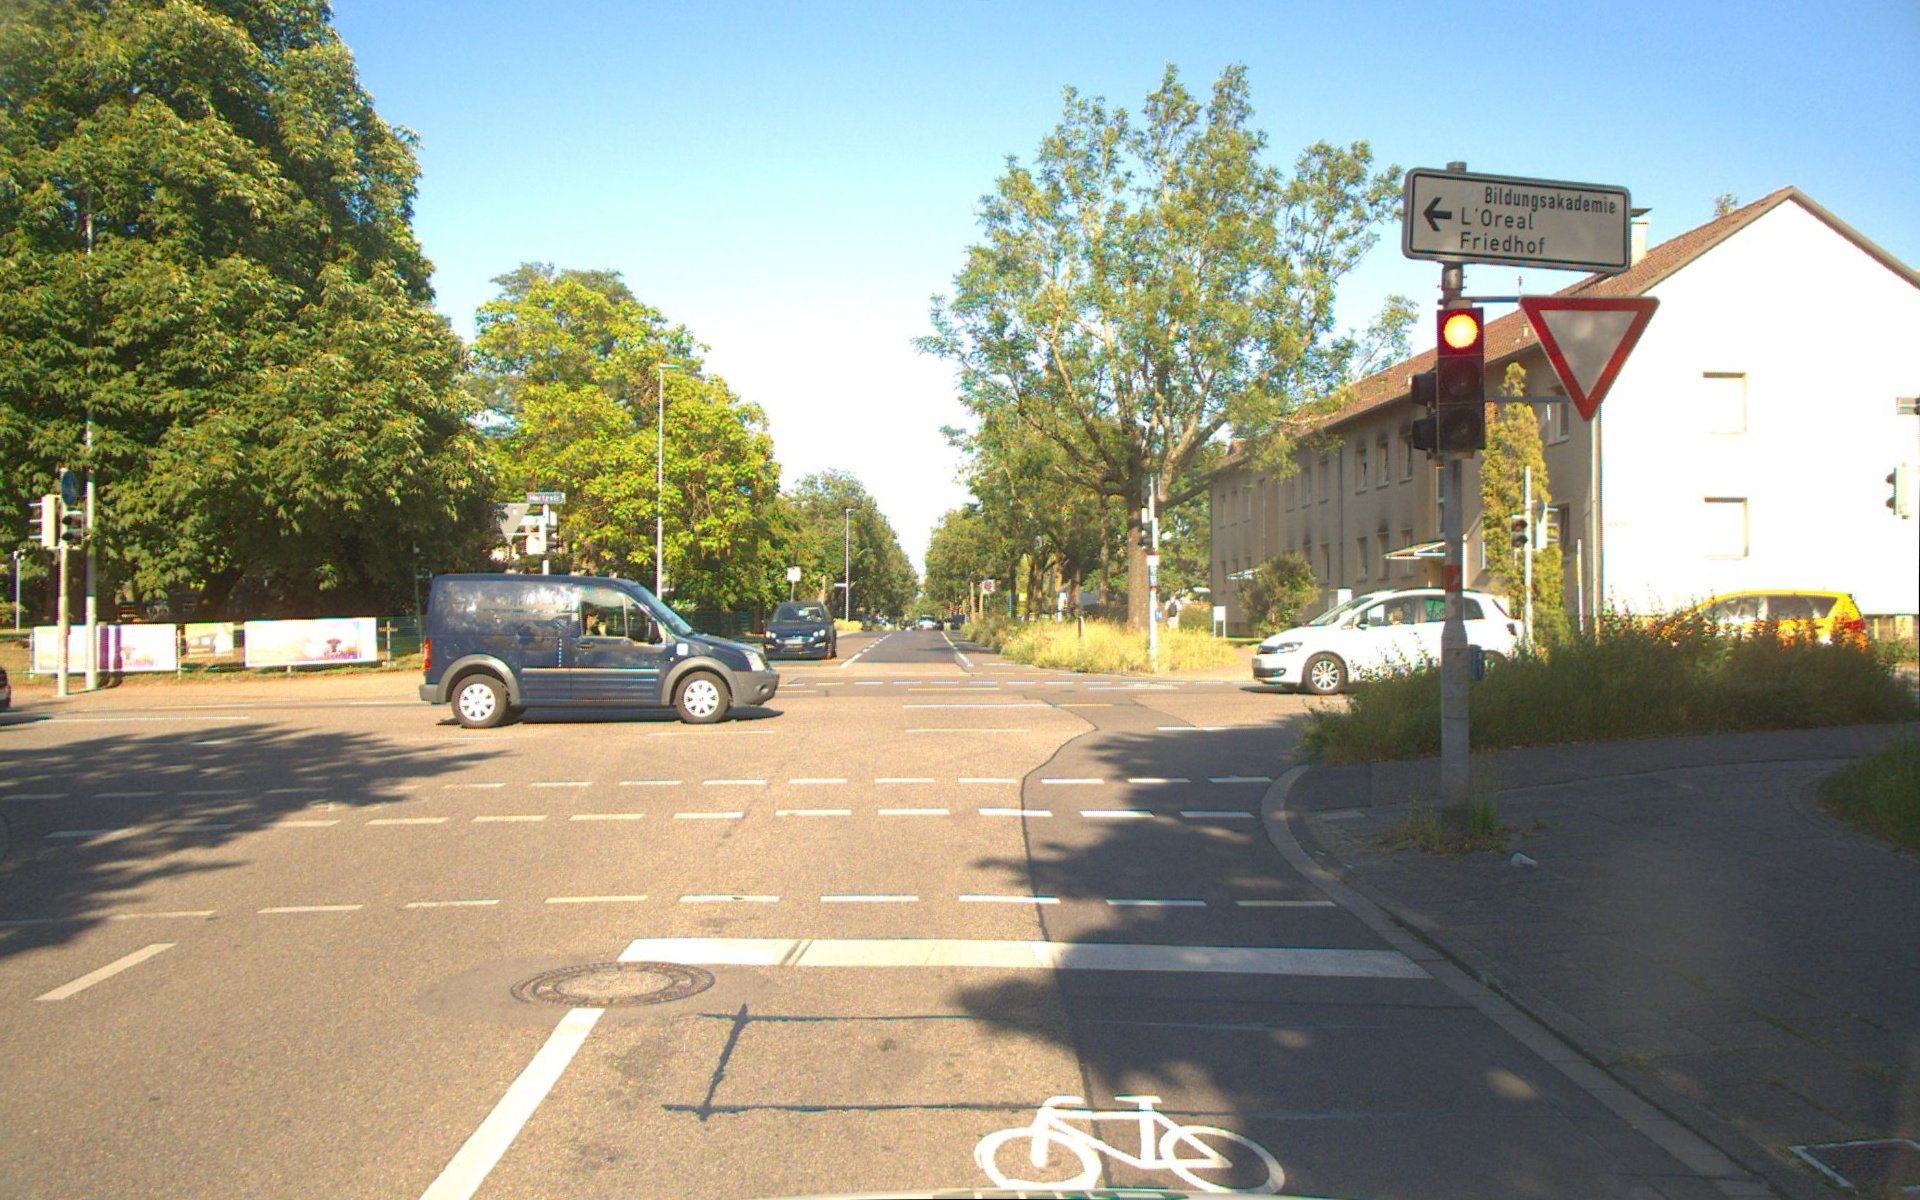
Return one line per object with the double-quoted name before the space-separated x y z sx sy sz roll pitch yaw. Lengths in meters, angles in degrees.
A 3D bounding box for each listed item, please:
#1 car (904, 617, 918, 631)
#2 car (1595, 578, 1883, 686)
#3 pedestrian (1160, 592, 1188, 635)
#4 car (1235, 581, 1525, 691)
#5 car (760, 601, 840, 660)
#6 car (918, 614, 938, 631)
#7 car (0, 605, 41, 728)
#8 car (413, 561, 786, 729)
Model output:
"car" -6.256 3.074 212.210 1.722 1.653 3.268 0 0 0
"car" 12.394 0.491 26.558 3.902 1.610 1.759 1 -1 14
"pedestrian" 7.709 0.490 59.522 0.825 1.519 0.924 2 0 -1
"car" 6.457 0.544 25.699 4.025 1.591 1.756 1 -1 -4
"car" -4.006 0.743 41.819 1.676 1.410 3.471 0 0 0
"car" -2.933 2.006 149.952 1.807 1.487 3.529 0 0 -1
"car" -14.020 0.872 20.441 4.198 1.515 1.912 -1 0 -3
"car" -4.320 0.520 20.412 4.260 1.920 1.858 -1 0 -5
